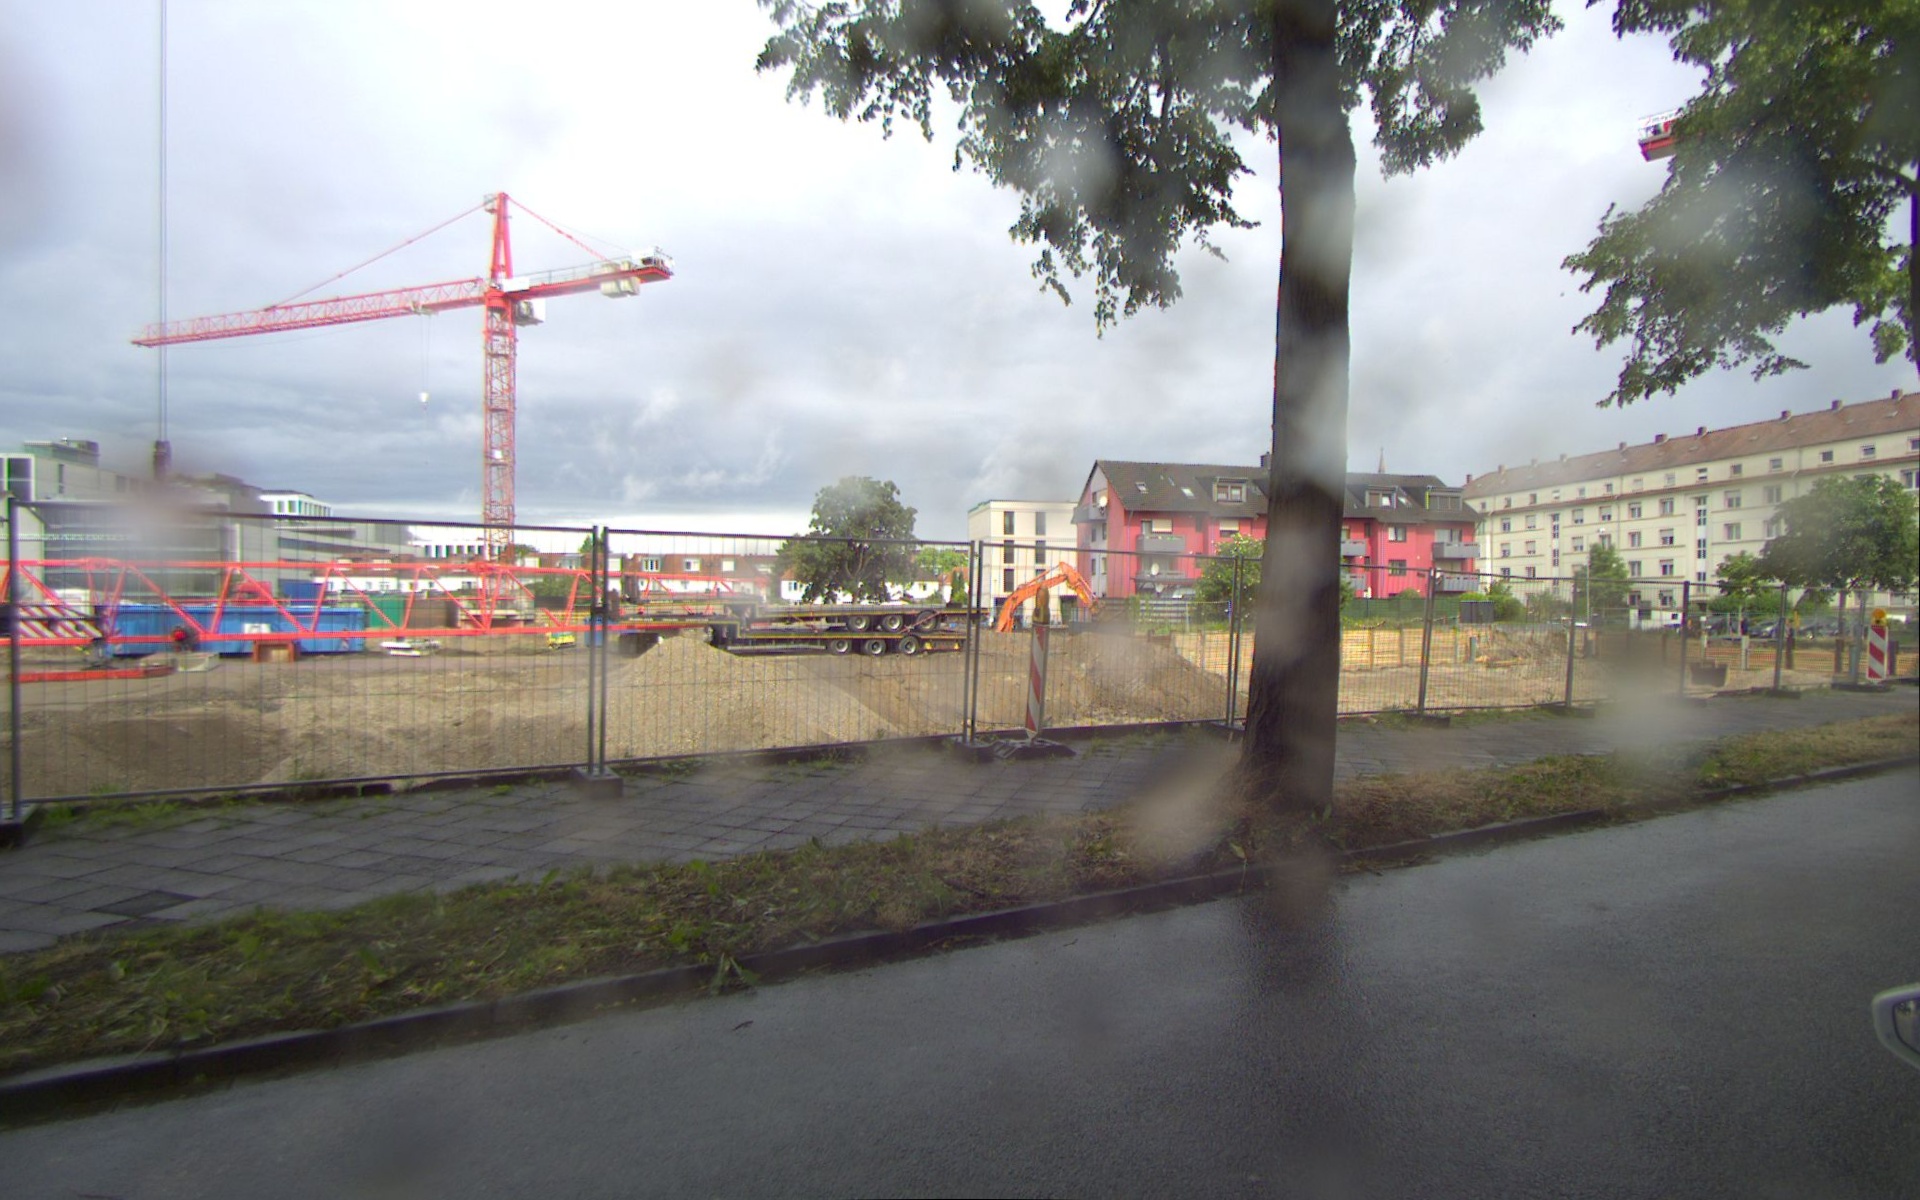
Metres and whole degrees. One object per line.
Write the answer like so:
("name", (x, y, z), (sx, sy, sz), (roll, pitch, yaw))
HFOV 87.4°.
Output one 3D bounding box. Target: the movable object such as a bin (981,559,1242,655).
("movable object such as a bin", (10.018, 0.443, 68.466), (16.429, 6.125, 6.885), (0, 0, -6))
